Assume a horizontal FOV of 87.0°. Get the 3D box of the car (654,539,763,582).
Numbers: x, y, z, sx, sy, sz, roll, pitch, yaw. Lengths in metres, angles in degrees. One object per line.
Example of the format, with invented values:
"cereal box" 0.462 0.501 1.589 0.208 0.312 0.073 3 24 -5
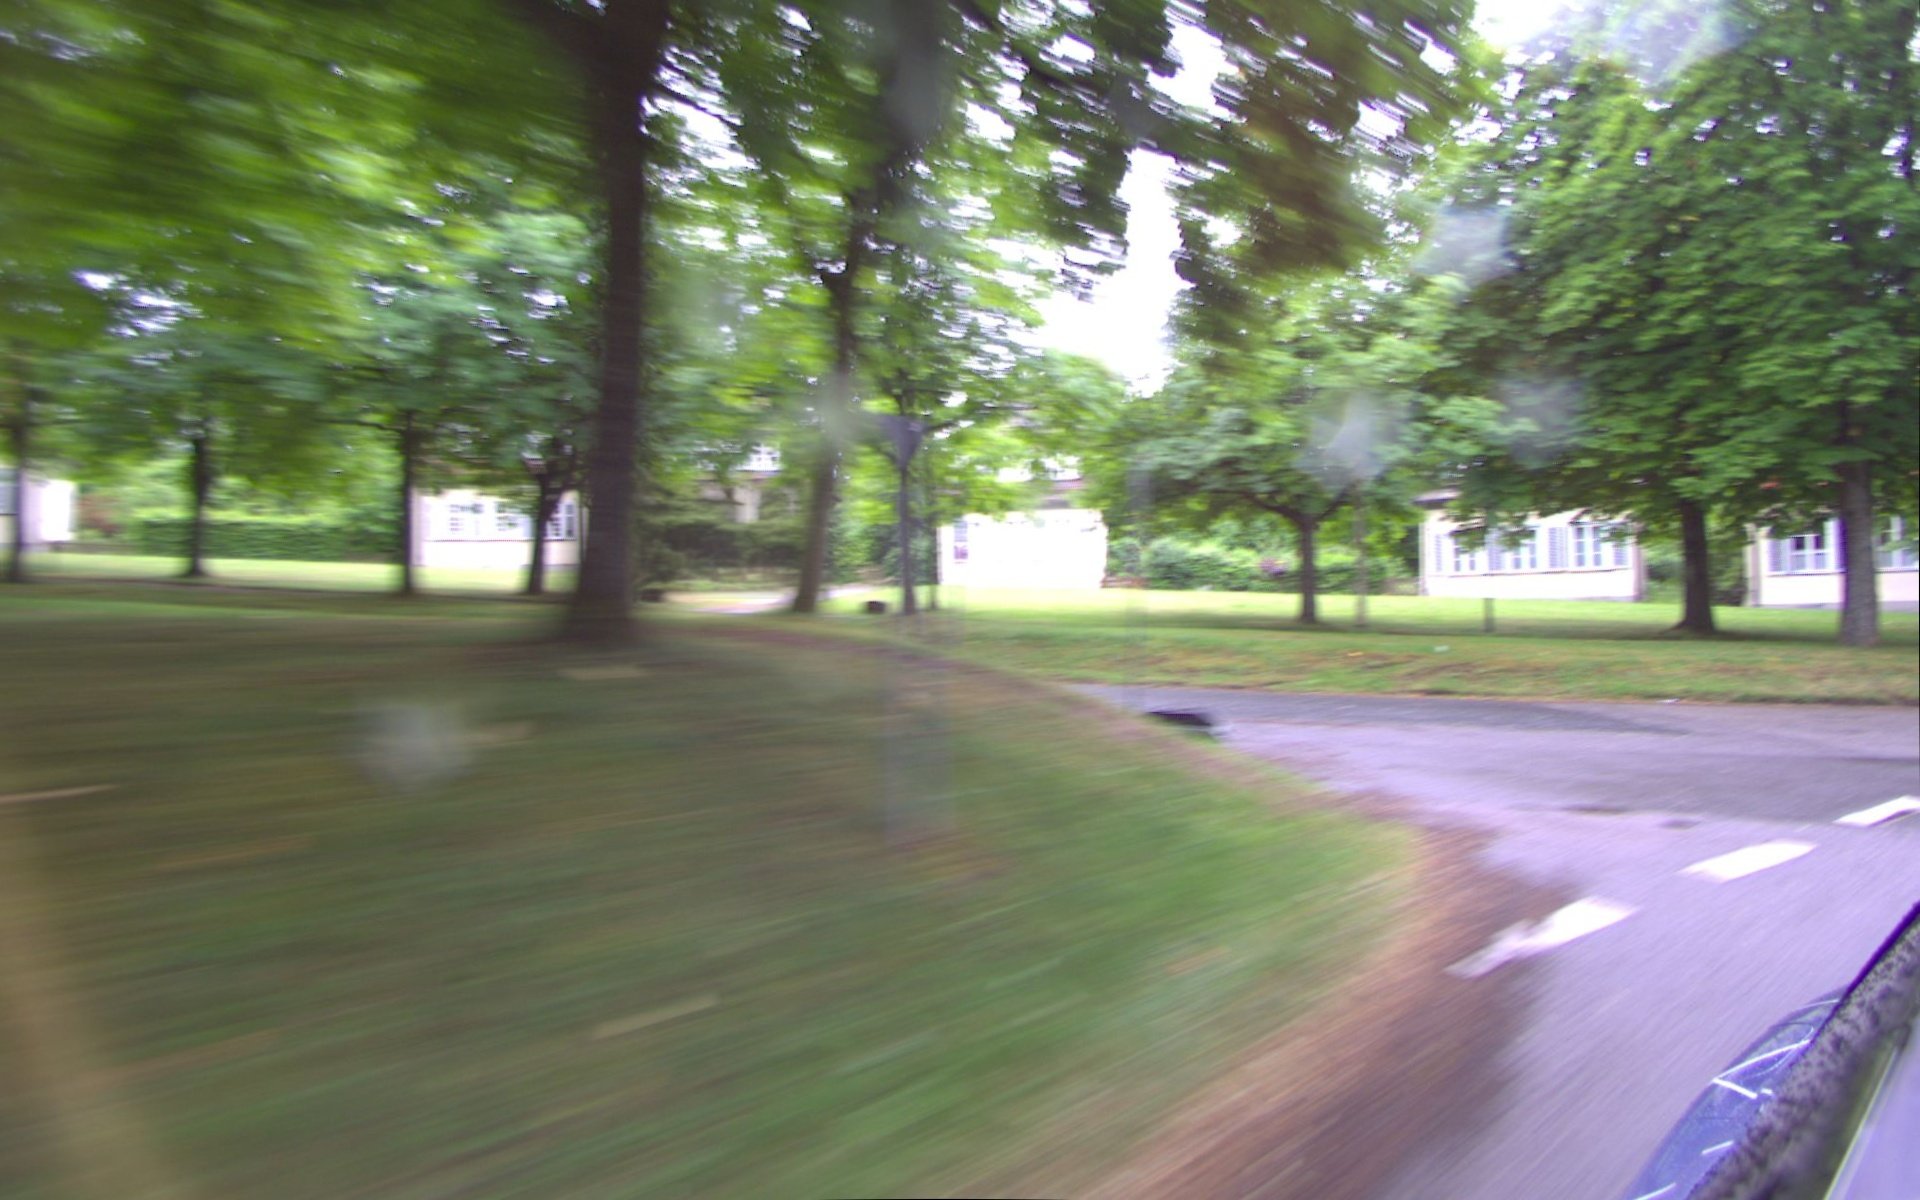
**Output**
"car" -11.243 -1.761 45.541 4.475 1.859 2.002 0 0 -4
